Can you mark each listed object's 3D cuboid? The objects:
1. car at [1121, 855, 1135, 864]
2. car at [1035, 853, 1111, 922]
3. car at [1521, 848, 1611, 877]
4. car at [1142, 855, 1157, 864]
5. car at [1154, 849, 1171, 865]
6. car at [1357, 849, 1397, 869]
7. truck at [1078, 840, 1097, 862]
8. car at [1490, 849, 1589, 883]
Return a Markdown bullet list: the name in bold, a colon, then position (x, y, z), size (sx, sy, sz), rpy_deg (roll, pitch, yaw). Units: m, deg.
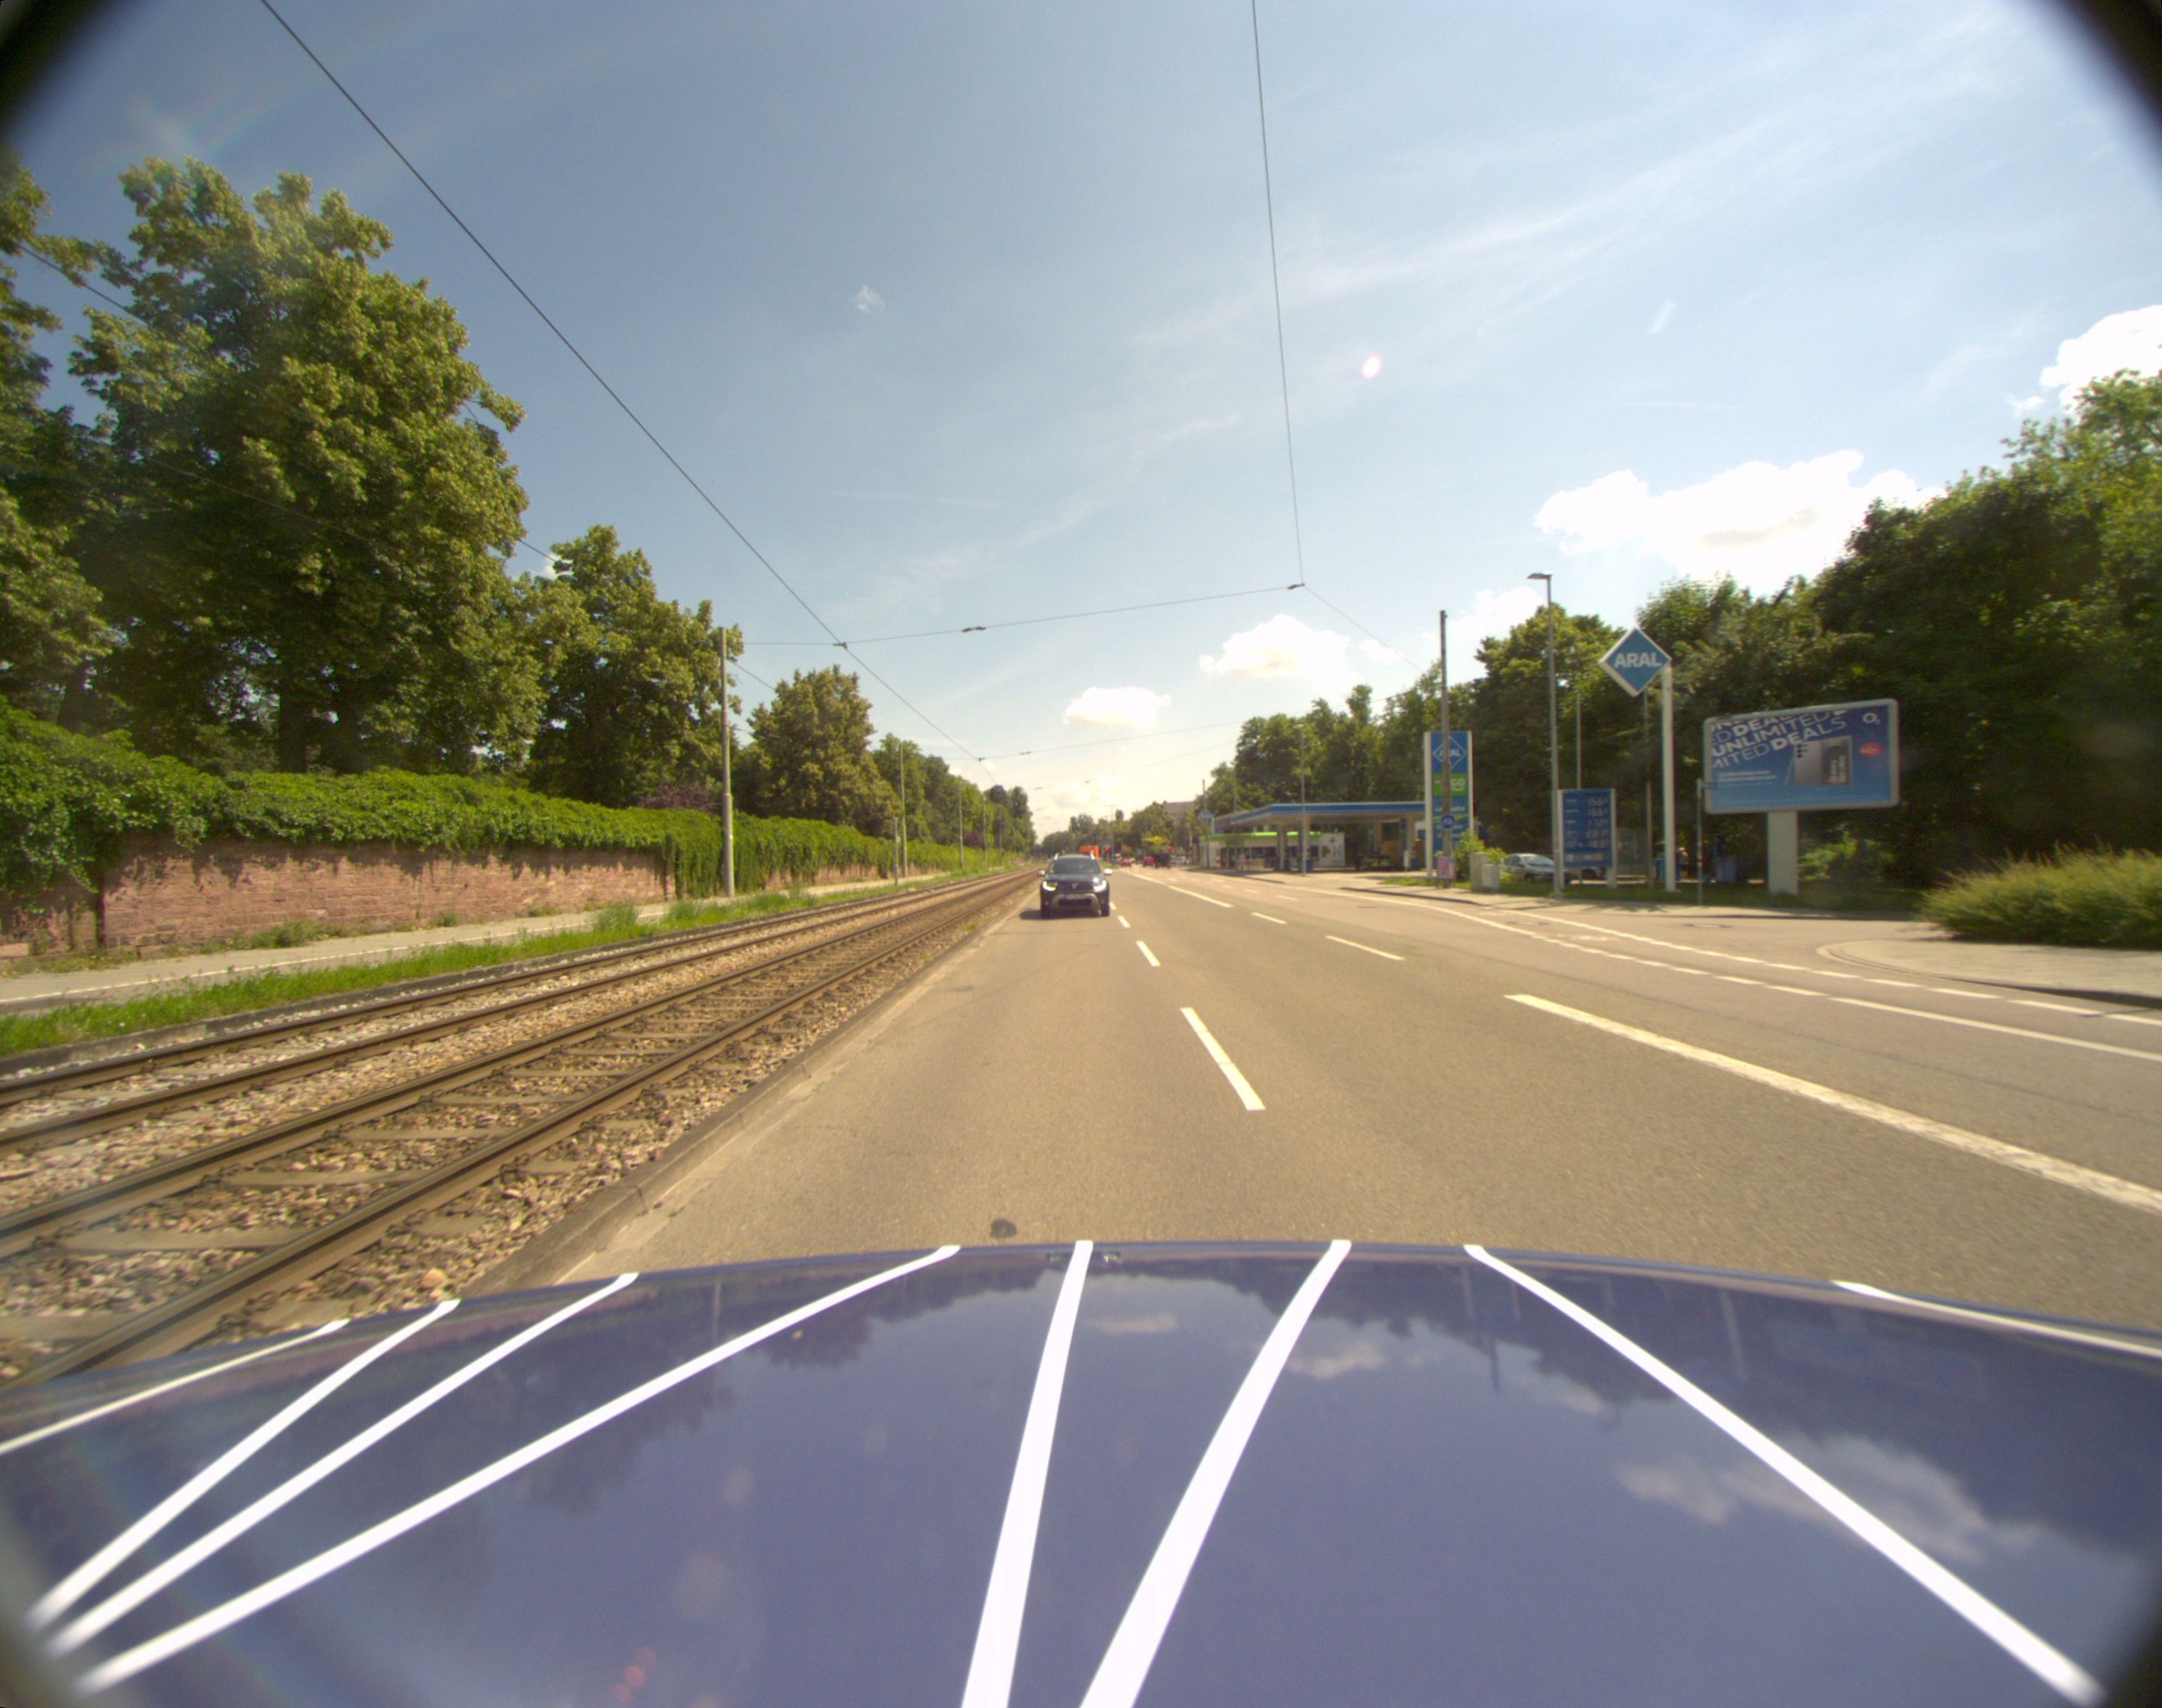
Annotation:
- **car**: position (7.178, 0.852, 115.772), size (1.998, 1.379, 4.000), rpy_deg (-1, 0, 2)
- **car**: position (-0.165, 0.831, 21.178), size (1.801, 1.652, 4.788), rpy_deg (-2, 0, 1)
- **car**: position (27.150, 0.465, 42.673), size (3.991, 1.535, 1.822), rpy_deg (-1, 0, 19)
- **car**: position (10.549, 0.832, 116.764), size (1.998, 1.379, 4.000), rpy_deg (-1, 0, 2)
- **car**: position (11.276, 0.465, 105.752), size (1.998, 2.133, 4.000), rpy_deg (-1, 0, 2)
- **car**: position (25.882, 0.419, 66.631), size (1.848, 1.661, 3.999), rpy_deg (-1, 0, -1)
- **truck**: position (1.165, -0.506, 127.544), size (2.845, 3.574, 8.705), rpy_deg (-2, 1, 1)
- **car**: position (19.286, 0.470, 32.164), size (1.818, 1.329, 4.000), rpy_deg (-1, 0, 1)
